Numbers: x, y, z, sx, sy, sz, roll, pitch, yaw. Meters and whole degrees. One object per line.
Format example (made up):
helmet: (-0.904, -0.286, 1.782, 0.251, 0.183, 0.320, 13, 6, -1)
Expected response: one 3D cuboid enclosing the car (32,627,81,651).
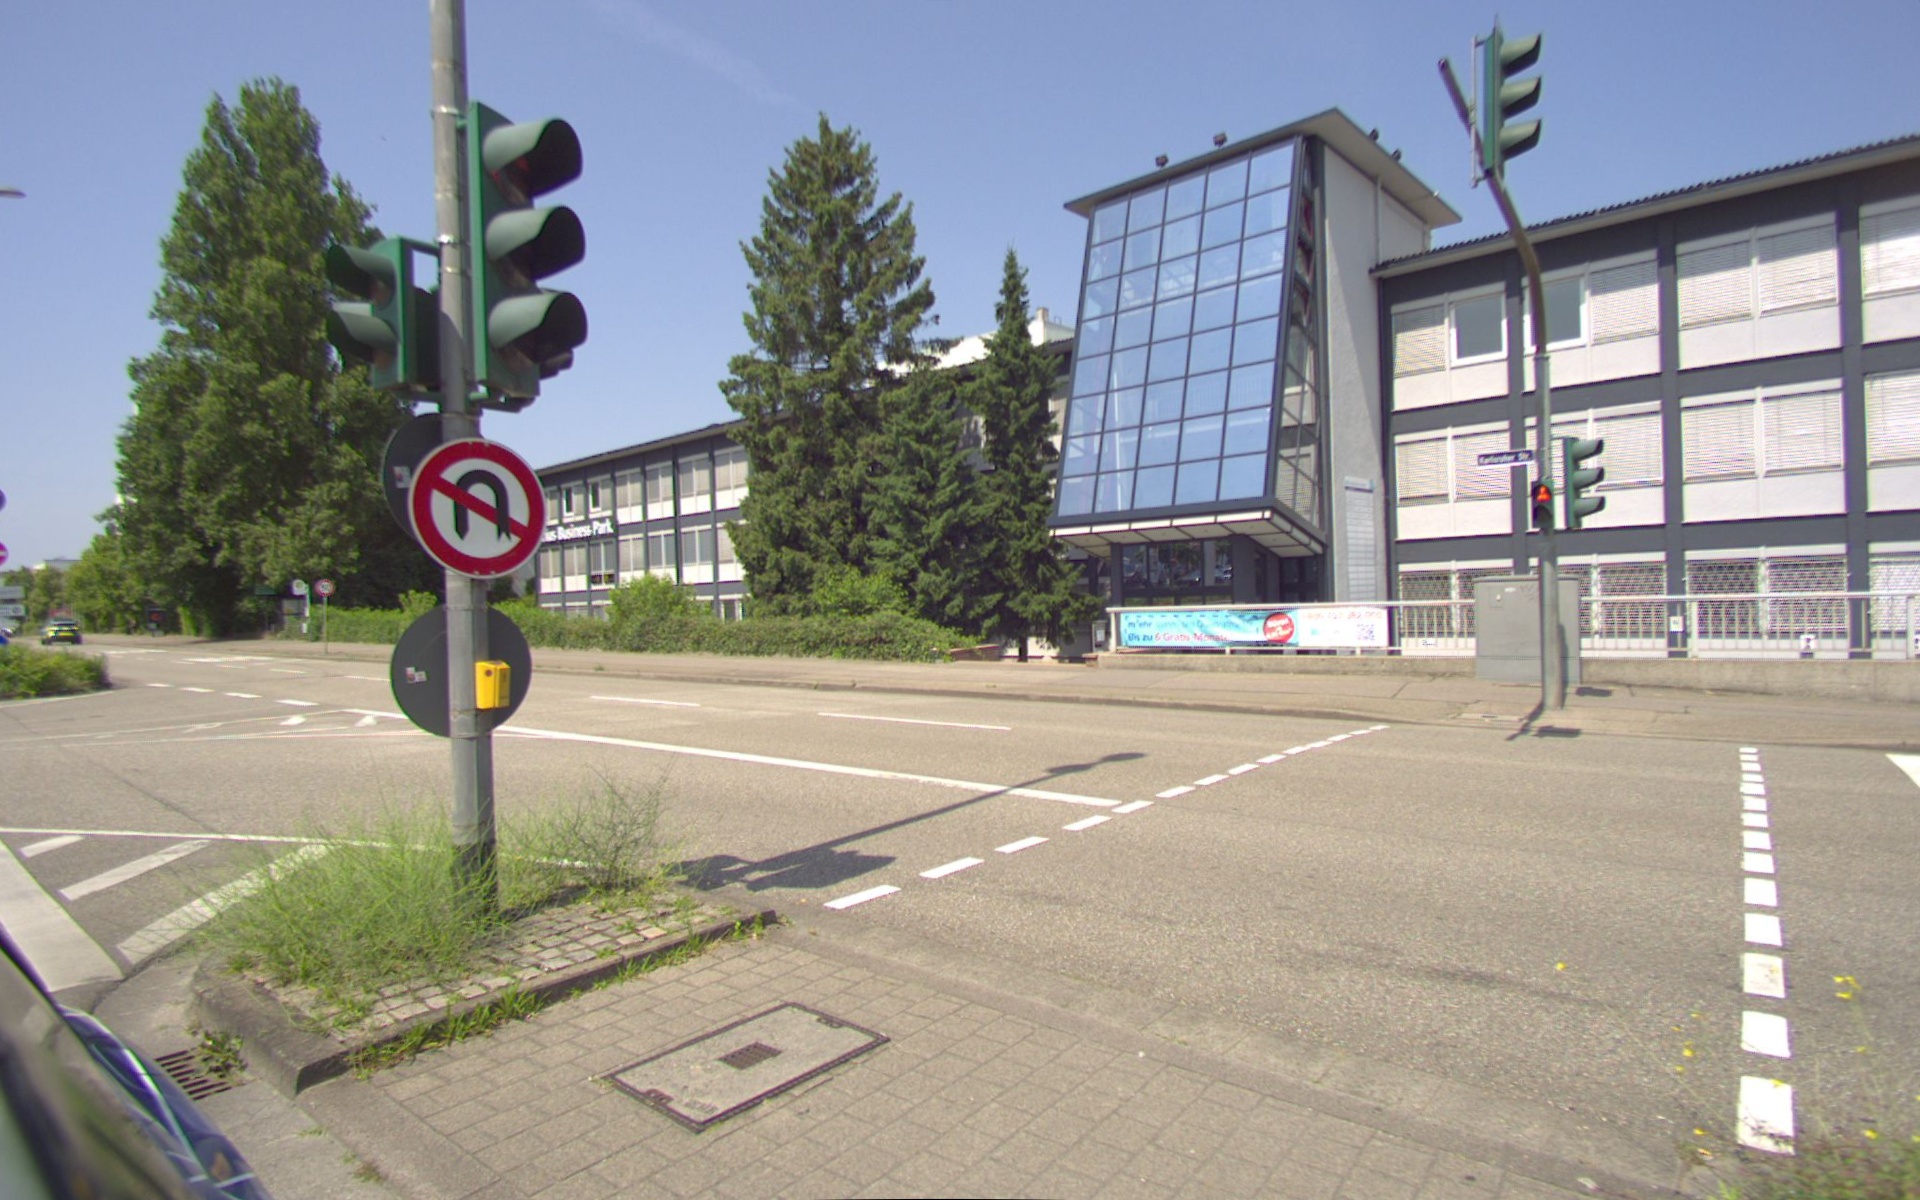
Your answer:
car: (-61.201, 2.610, 68.554, 4.283, 1.572, 1.875, -1, -1, 40)
